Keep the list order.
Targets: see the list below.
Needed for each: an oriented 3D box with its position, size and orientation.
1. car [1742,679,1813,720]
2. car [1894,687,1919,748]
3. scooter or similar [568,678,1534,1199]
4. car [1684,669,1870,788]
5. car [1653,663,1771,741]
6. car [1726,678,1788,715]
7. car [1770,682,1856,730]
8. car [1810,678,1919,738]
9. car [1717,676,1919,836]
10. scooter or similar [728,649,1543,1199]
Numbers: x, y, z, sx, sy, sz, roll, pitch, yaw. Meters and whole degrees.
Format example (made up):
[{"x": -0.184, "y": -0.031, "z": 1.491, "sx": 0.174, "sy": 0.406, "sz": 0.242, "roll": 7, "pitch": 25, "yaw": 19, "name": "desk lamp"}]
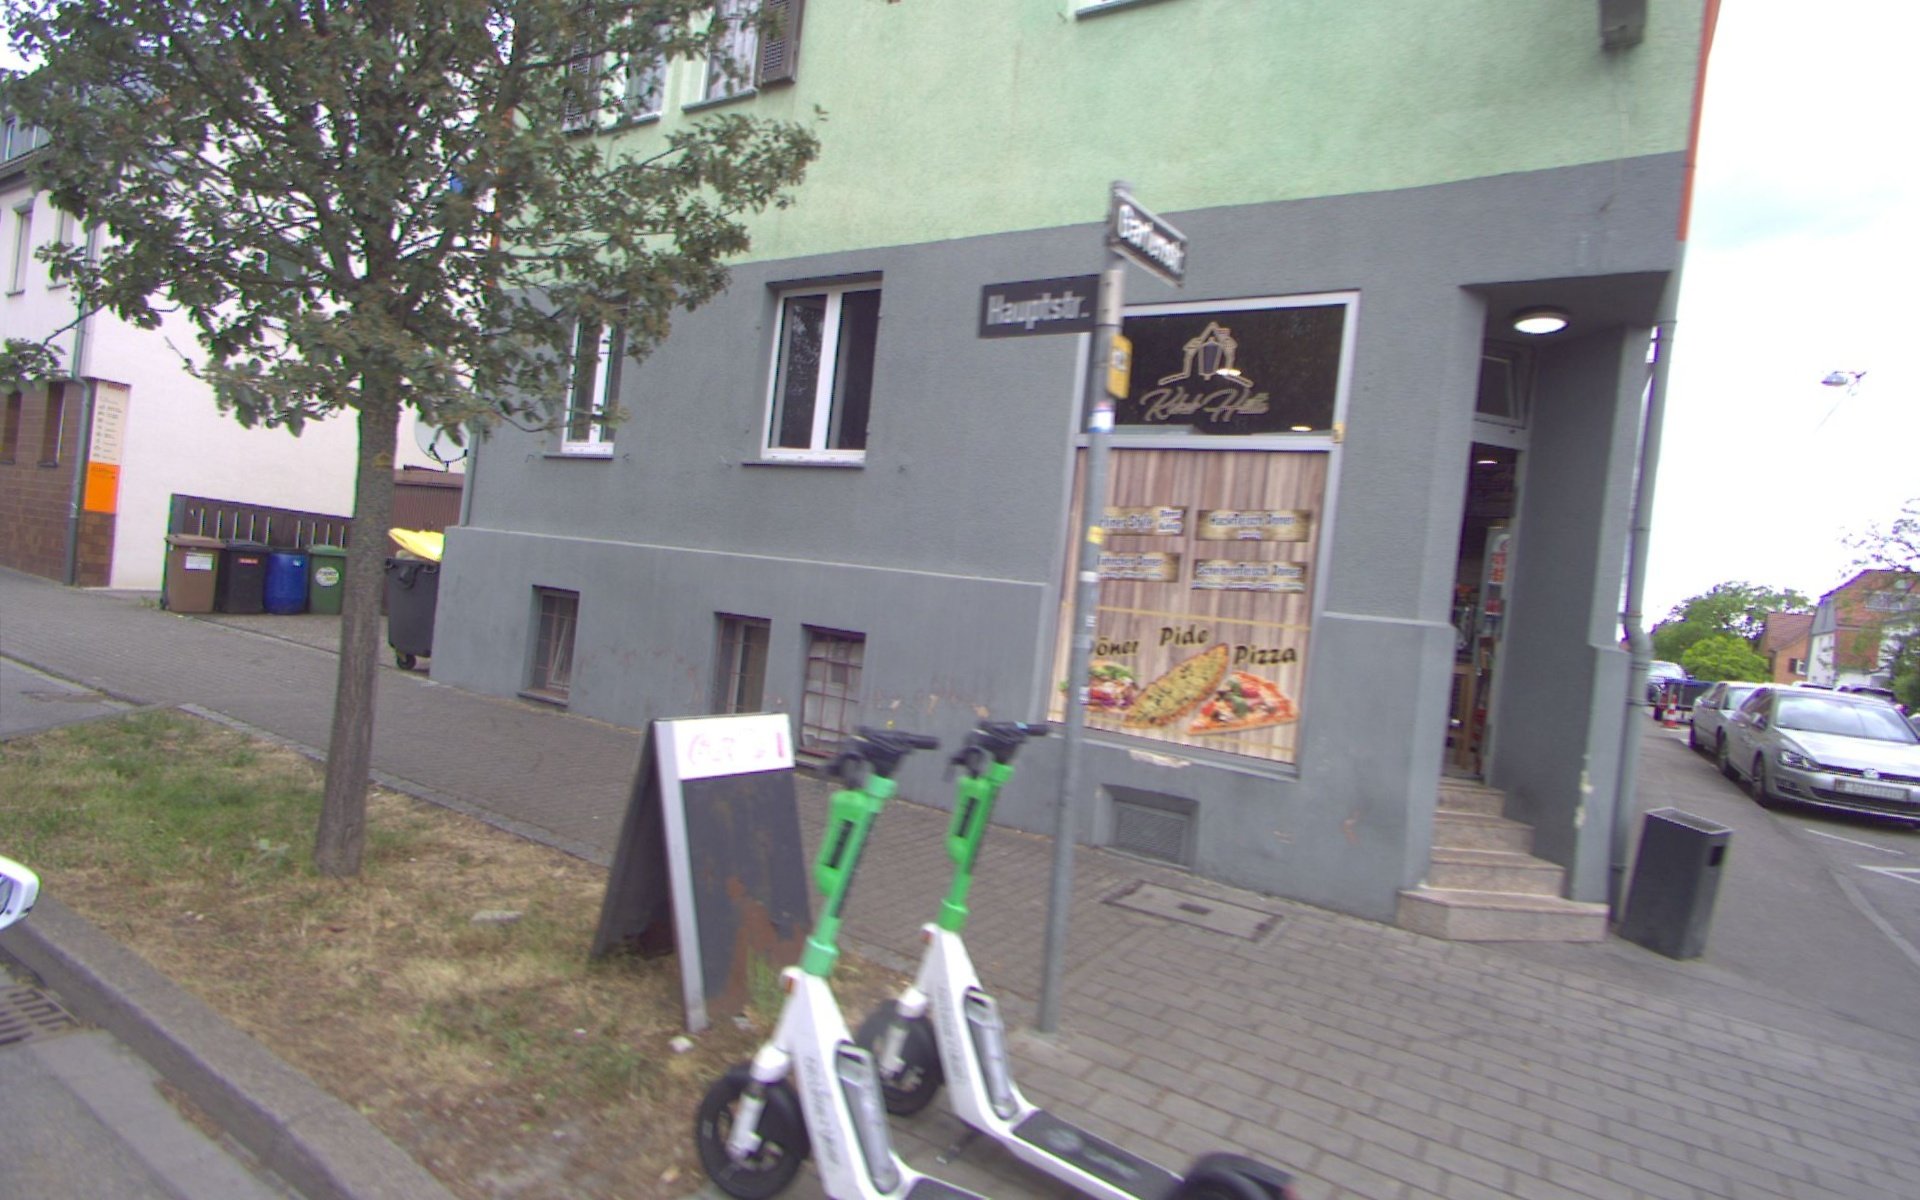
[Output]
[{"x": 39.366, "y": 4.758, "z": 48.555, "sx": 1.876, "sy": 1.491, "sz": 4.426, "roll": 8, "pitch": 2, "yaw": 31, "name": "car"}, {"x": 25.640, "y": 3.174, "z": 25.438, "sx": 1.876, "sy": 1.491, "sz": 4.426, "roll": 8, "pitch": 2, "yaw": 31, "name": "car"}, {"x": 0.059, "y": 0.925, "z": 2.158, "sx": 1.910, "sy": 1.250, "sz": 0.502, "roll": 7, "pitch": 0, "yaw": 32, "name": "scooter or similar"}, {"x": 13.911, "y": 2.089, "z": 17.394, "sx": 1.773, "sy": 1.483, "sz": 4.352, "roll": 6, "pitch": 1, "yaw": 31, "name": "car"}, {"x": 18.490, "y": 2.433, "z": 24.915, "sx": 1.773, "sy": 1.483, "sz": 4.352, "roll": 6, "pitch": 1, "yaw": 31, "name": "car"}, {"x": 42.818, "y": 5.155, "z": 54.126, "sx": 1.876, "sy": 1.491, "sz": 4.426, "roll": 8, "pitch": 2, "yaw": 31, "name": "car"}, {"x": 35.834, "y": 4.409, "z": 42.404, "sx": 1.876, "sy": 1.491, "sz": 4.426, "roll": 8, "pitch": 2, "yaw": 31, "name": "car"}, {"x": 31.114, "y": 3.653, "z": 34.698, "sx": 1.876, "sy": 1.491, "sz": 4.426, "roll": 8, "pitch": 2, "yaw": 31, "name": "car"}, {"x": 11.242, "y": 1.887, "z": 13.008, "sx": 1.773, "sy": 1.483, "sz": 4.049, "roll": 6, "pitch": 1, "yaw": 31, "name": "car"}, {"x": 0.340, "y": 0.878, "z": 2.618, "sx": 1.910, "sy": 1.250, "sz": 0.502, "roll": 7, "pitch": 0, "yaw": 32, "name": "scooter or similar"}]
